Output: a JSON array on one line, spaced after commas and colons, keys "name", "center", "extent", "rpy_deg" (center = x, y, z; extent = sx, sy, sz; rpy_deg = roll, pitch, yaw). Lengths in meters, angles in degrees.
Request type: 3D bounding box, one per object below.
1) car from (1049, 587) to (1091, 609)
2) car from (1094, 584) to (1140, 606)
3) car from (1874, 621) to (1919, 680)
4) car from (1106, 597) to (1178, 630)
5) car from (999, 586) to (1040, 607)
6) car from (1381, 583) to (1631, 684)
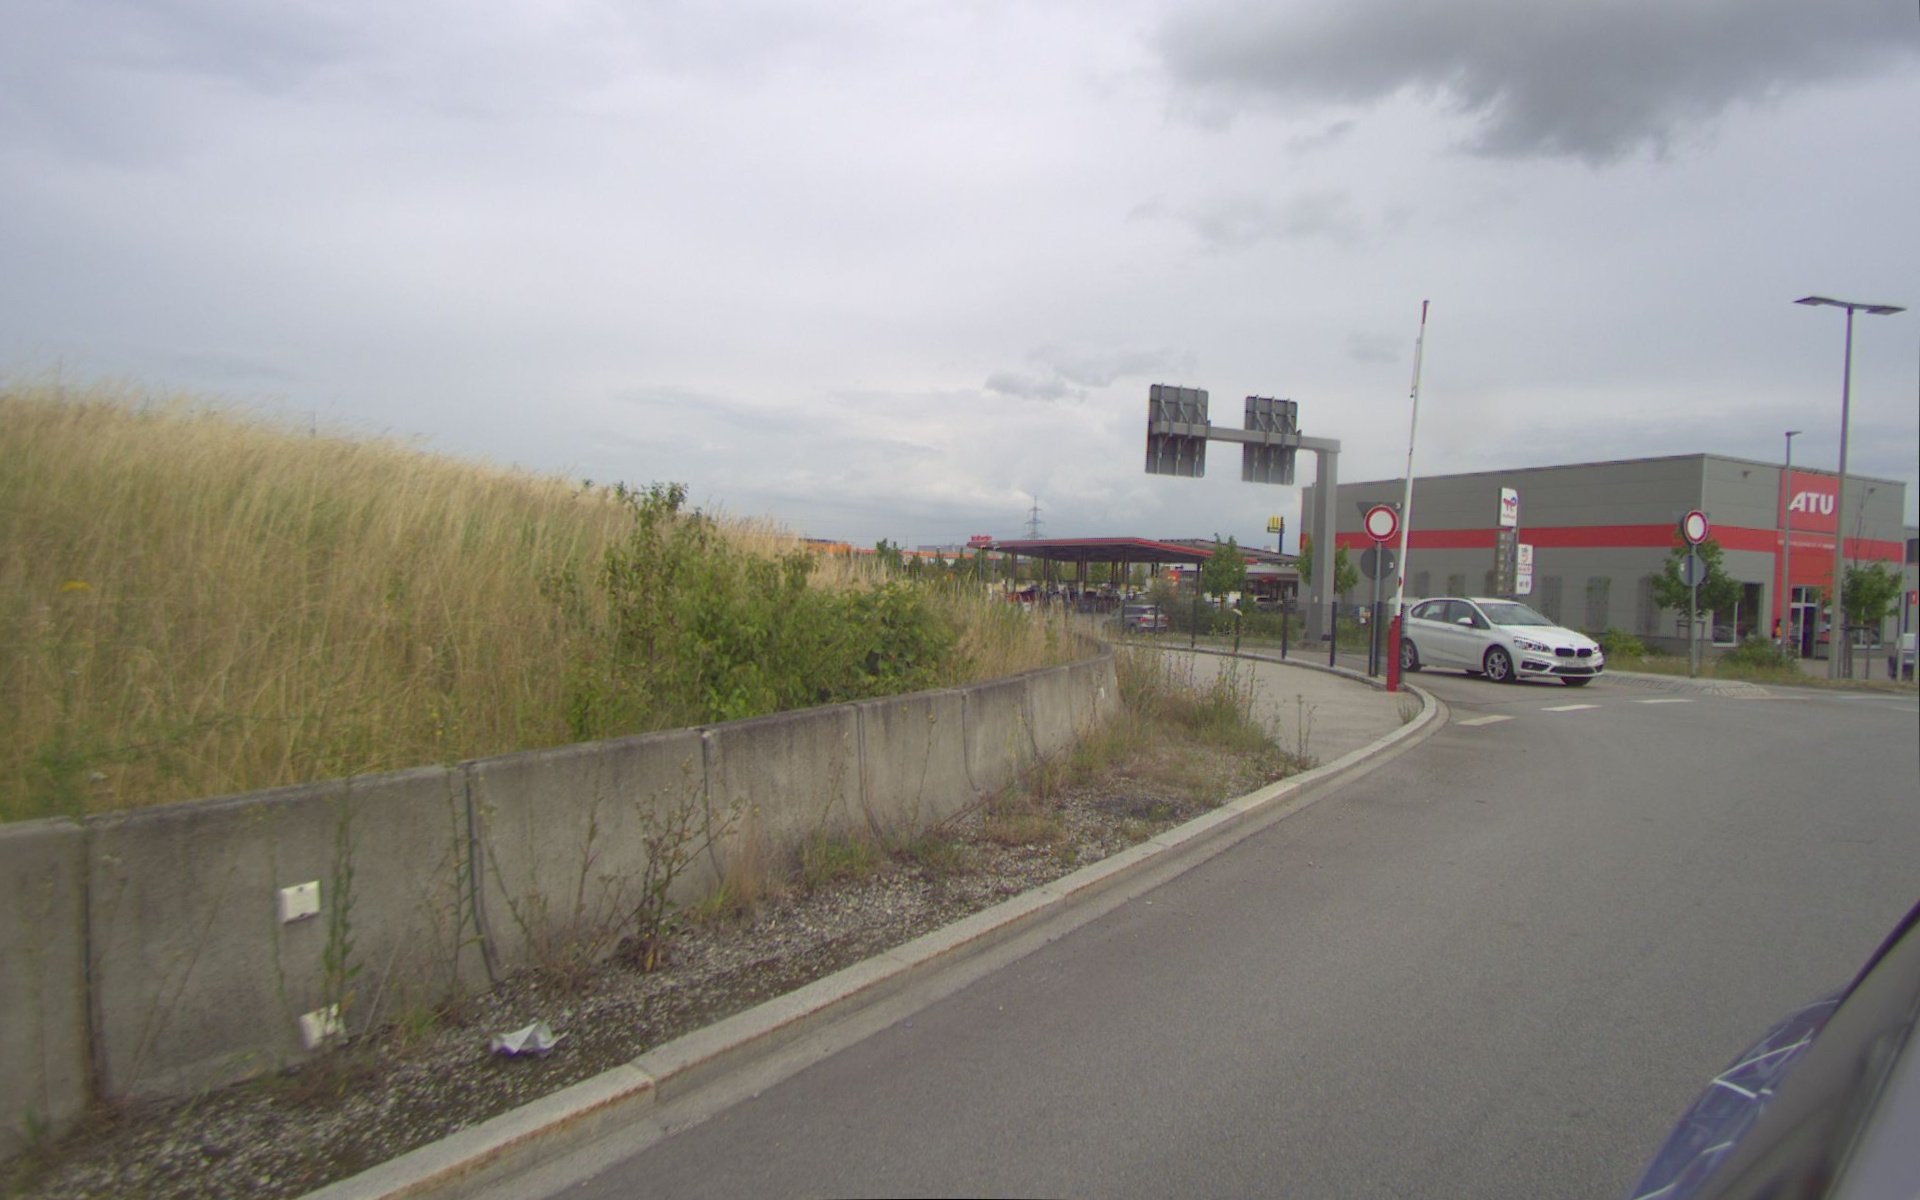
[{"name": "car", "center": [10.562, -0.163, 96.879], "extent": [3.767, 1.817, 1.715], "rpy_deg": [4, -1, -37]}, {"name": "car", "center": [14.293, -0.438, 92.230], "extent": [3.760, 1.817, 1.719], "rpy_deg": [4, -1, -27]}, {"name": "car", "center": [36.503, 1.957, 36.302], "extent": [1.959, 2.072, 5.088], "rpy_deg": [2, 1, -27]}, {"name": "car", "center": [9.431, 0.679, 52.803], "extent": [1.877, 1.593, 4.009], "rpy_deg": [0, 1, -21]}, {"name": "car", "center": [5.817, -0.344, 98.897], "extent": [3.767, 1.817, 1.715], "rpy_deg": [4, -1, -37]}, {"name": "car", "center": [10.242, 0.548, 19.453], "extent": [1.747, 1.649, 4.436], "rpy_deg": [2, 1, -11]}]
